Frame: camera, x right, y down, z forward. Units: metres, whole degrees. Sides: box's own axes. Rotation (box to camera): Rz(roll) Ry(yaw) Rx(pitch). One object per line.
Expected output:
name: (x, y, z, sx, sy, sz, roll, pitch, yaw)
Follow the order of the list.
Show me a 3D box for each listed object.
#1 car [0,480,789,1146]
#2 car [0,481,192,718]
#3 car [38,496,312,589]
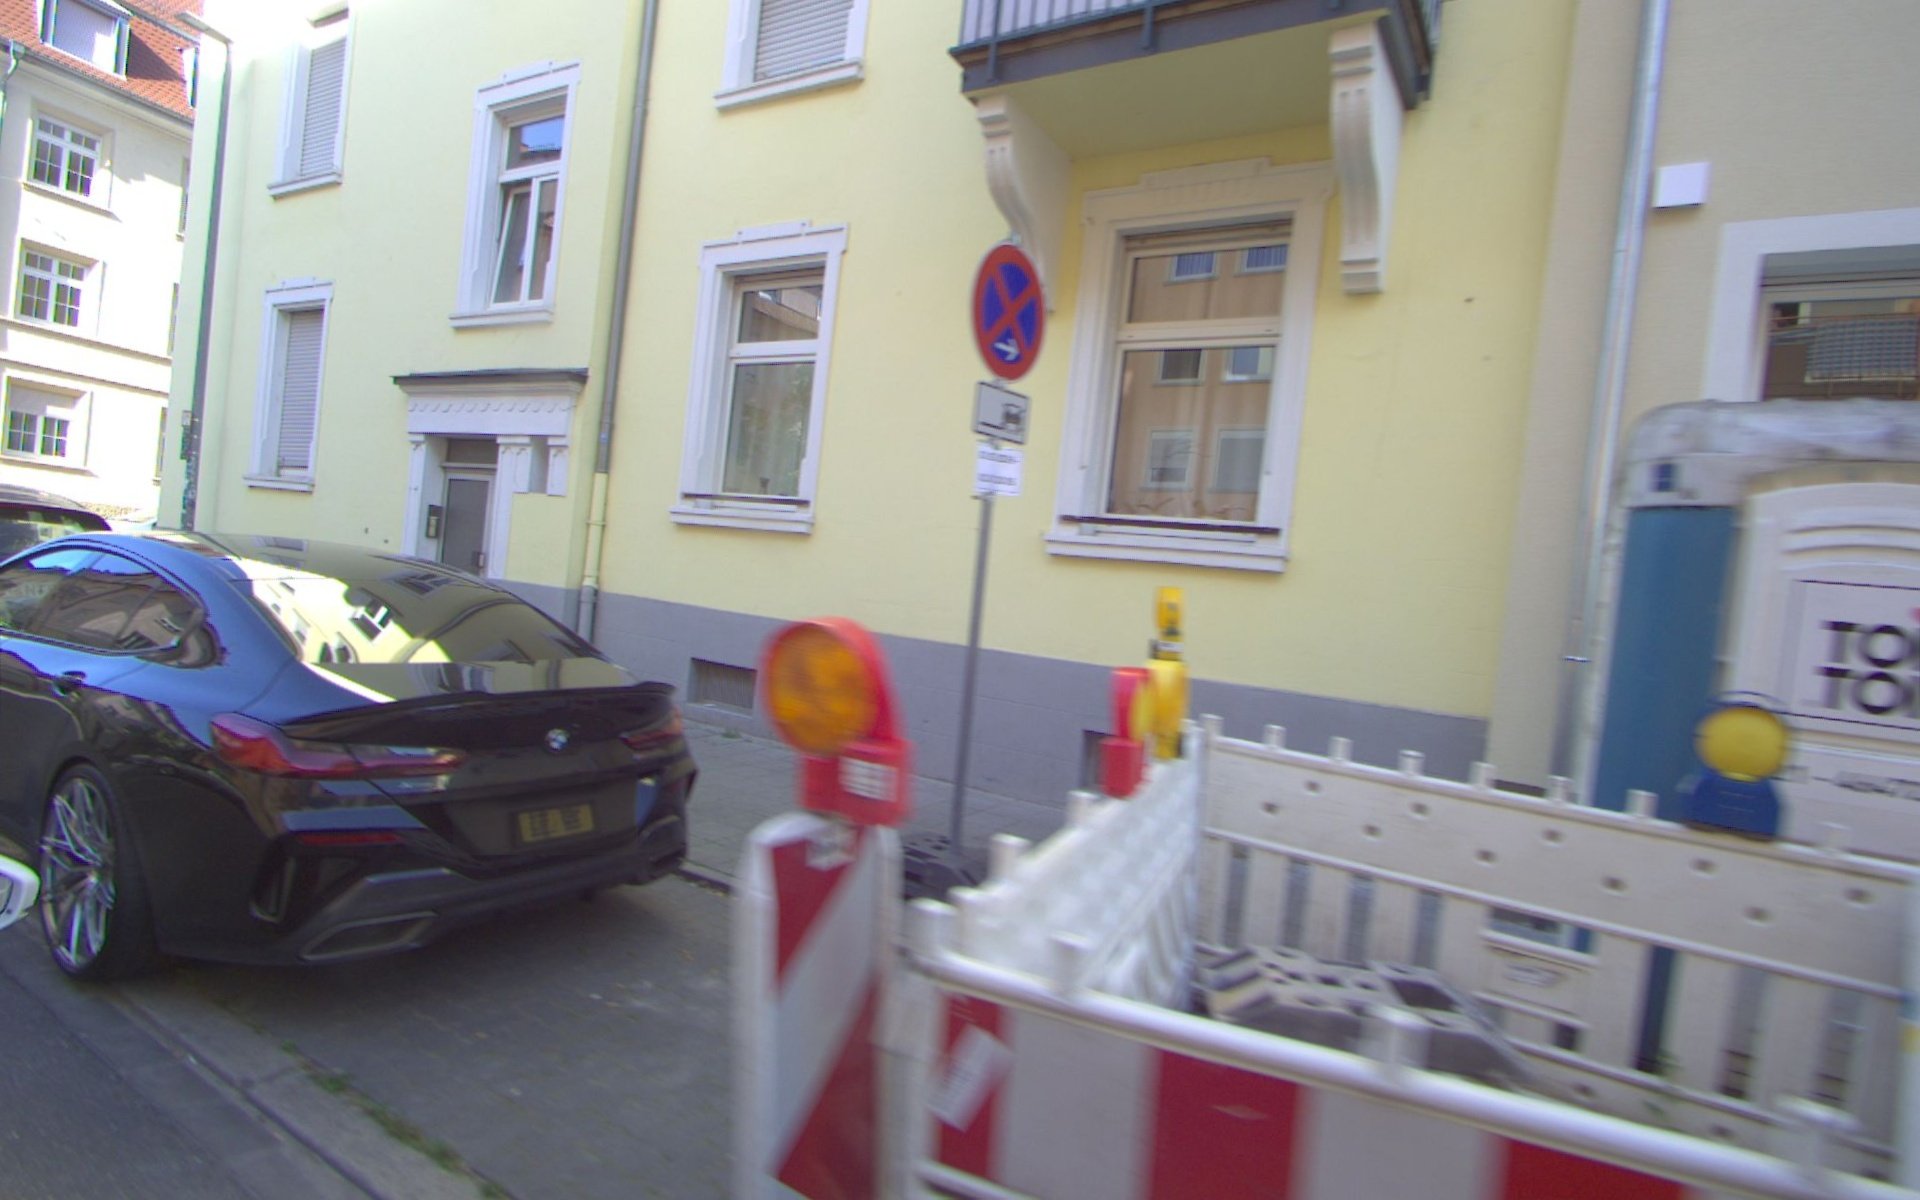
car: (-3.304, 0.328, 4.458, 5.027, 1.490, 1.801, 7, 2, 32)
car: (-7.747, -0.193, 7.439, 4.014, 1.490, 1.764, 7, 2, 29)
car: (-17.715, -1.237, 22.989, 1.796, 1.485, 4.550, 5, -2, 25)
